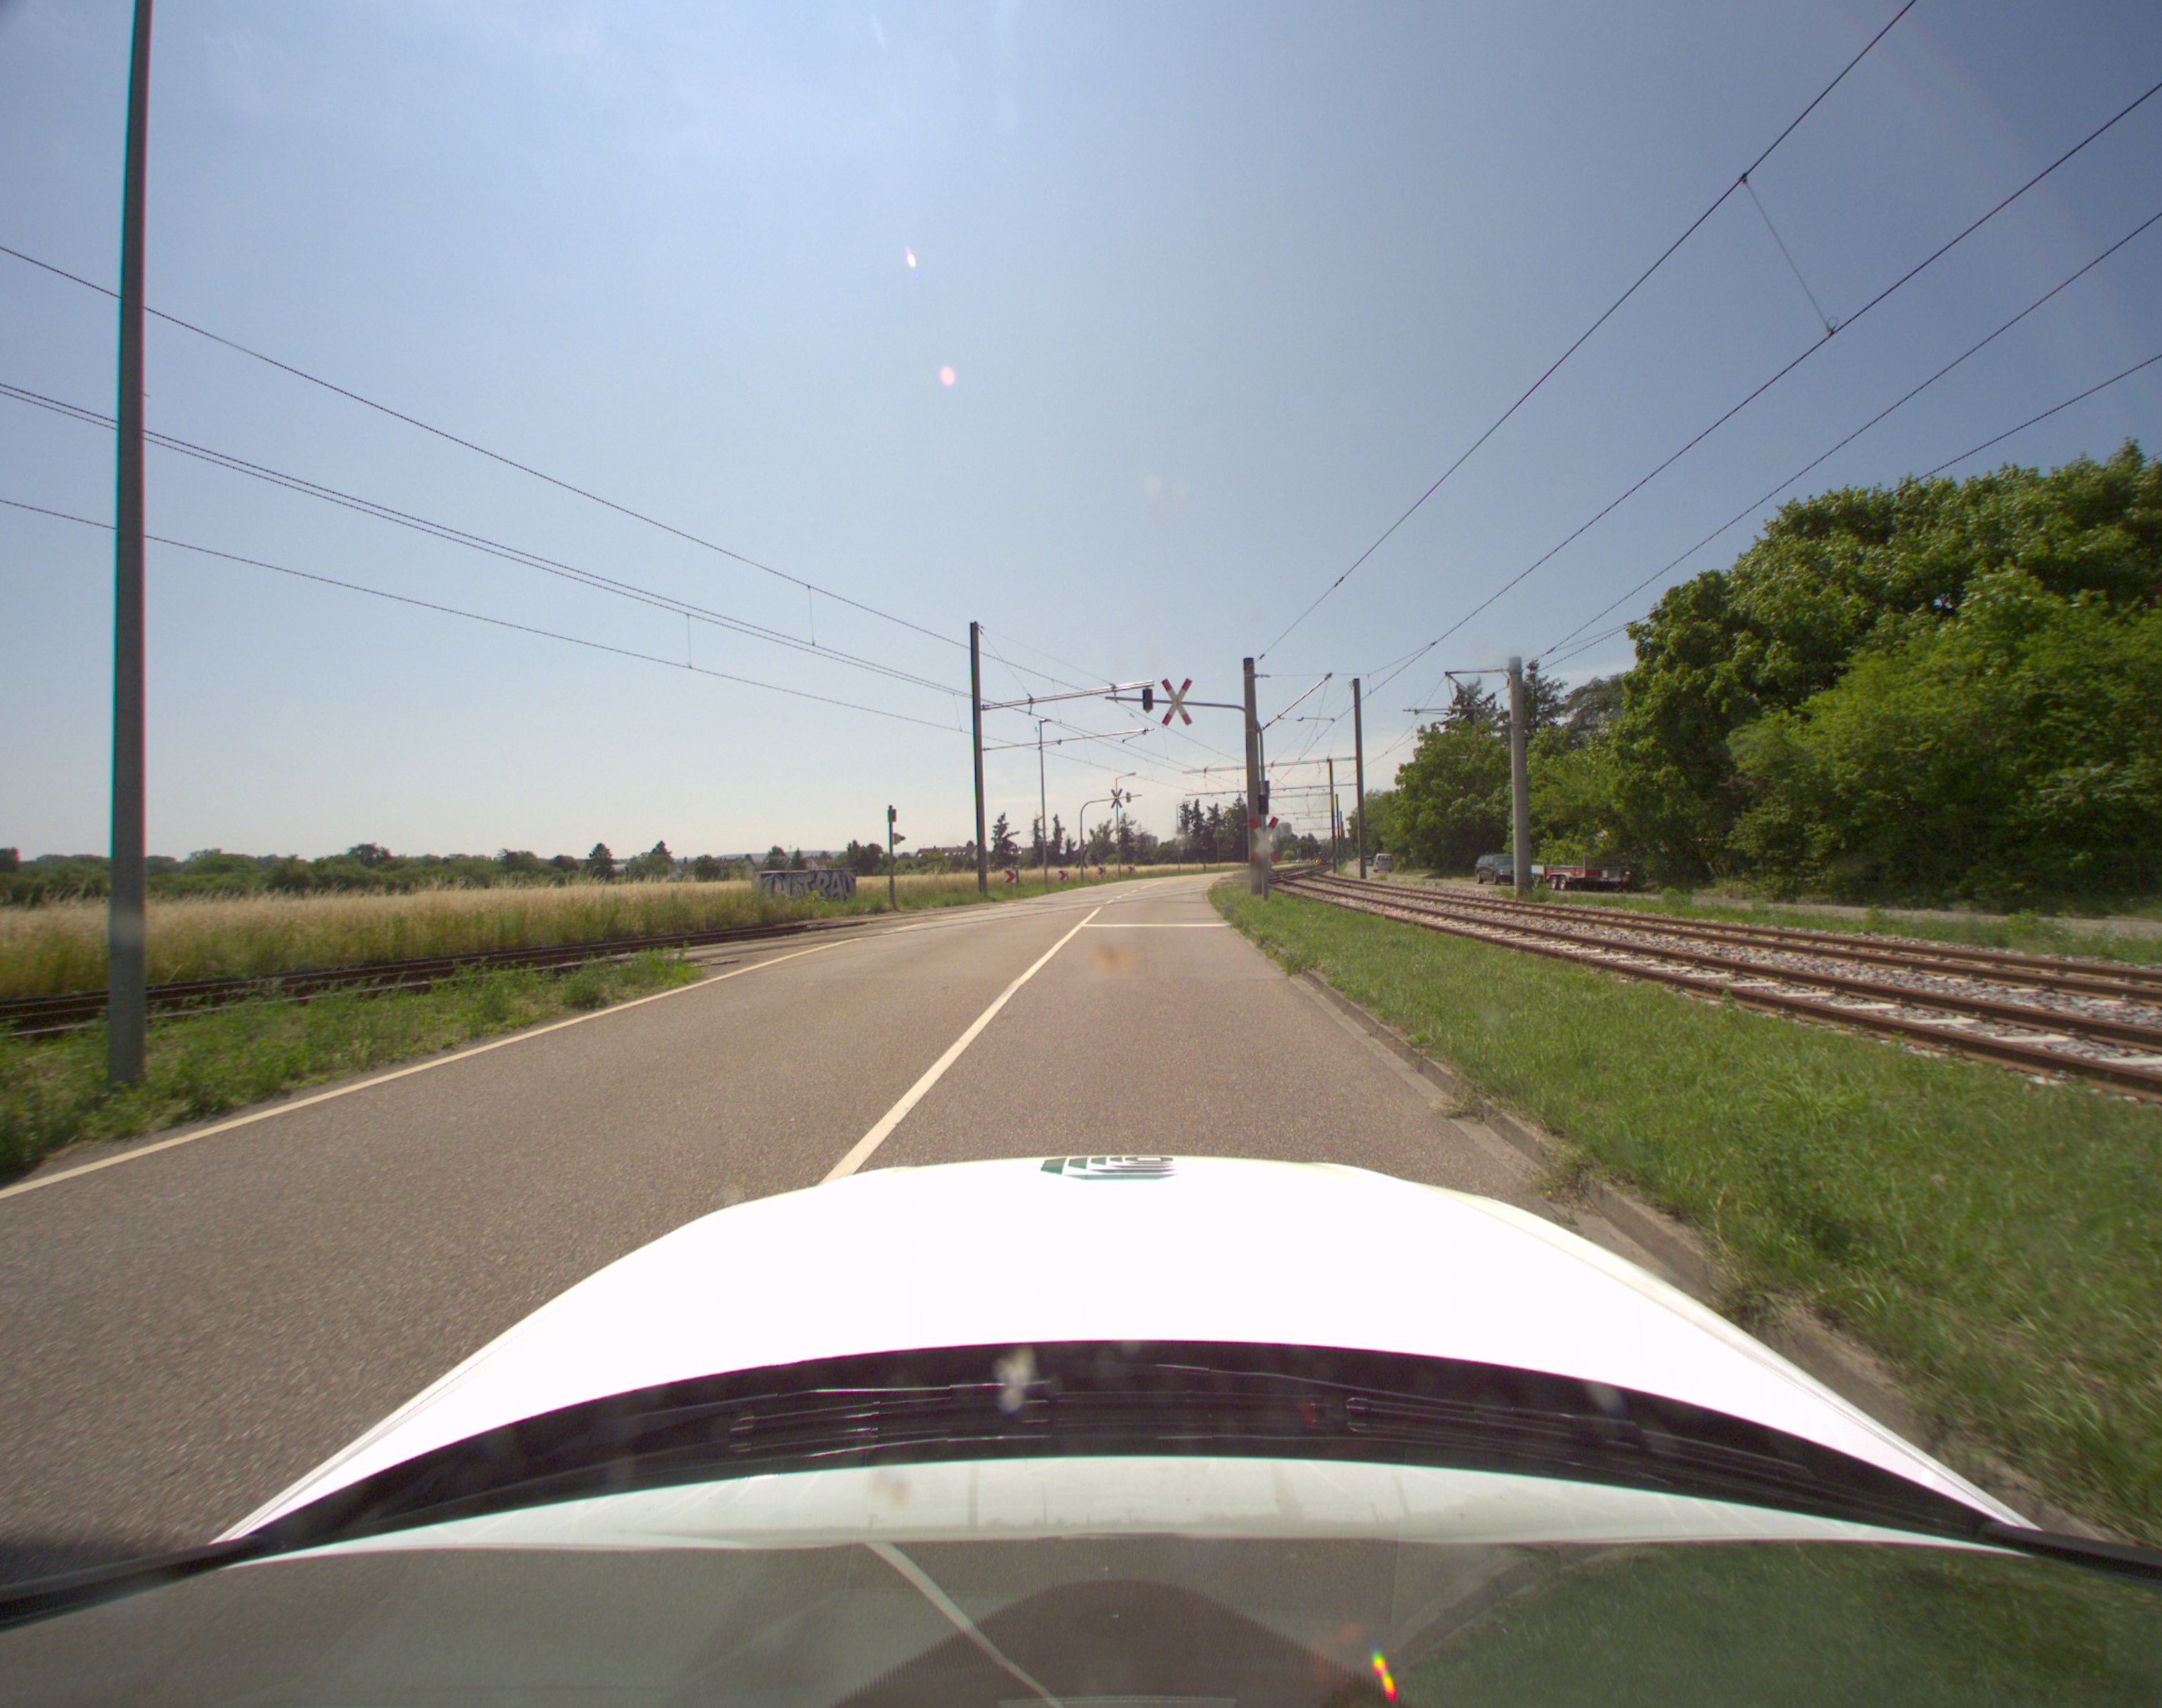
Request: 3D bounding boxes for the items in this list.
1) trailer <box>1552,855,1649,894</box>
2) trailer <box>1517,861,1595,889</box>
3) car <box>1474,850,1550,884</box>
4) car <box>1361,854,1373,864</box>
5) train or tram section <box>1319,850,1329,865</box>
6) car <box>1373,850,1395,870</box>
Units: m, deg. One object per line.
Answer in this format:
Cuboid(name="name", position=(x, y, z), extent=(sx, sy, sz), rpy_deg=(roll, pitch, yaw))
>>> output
Cuboid(name="trailer", position=(18.123, 0.734, 28.620), extent=(1.452, 1.222, 4.011), rpy_deg=(-2, -2, 11))
Cuboid(name="trailer", position=(18.899, 0.812, 32.575), extent=(1.410, 0.994, 4.012), rpy_deg=(0, 0, 11))
Cuboid(name="car", position=(19.996, 0.646, 38.000), extent=(1.785, 1.426, 4.753), rpy_deg=(-2, -2, 11))
Cuboid(name="car", position=(56.204, 0.935, 160.125), extent=(1.977, 1.802, 4.816), rpy_deg=(-3, -2, 18))
Cuboid(name="train or tram section", position=(69.912, 1.048, 234.329), extent=(2.409, 3.766, 11.611), rpy_deg=(-3, -2, 18))
Cuboid(name="car", position=(32.047, 0.671, 86.025), extent=(2.019, 1.882, 5.094), rpy_deg=(-3, -2, 20))
